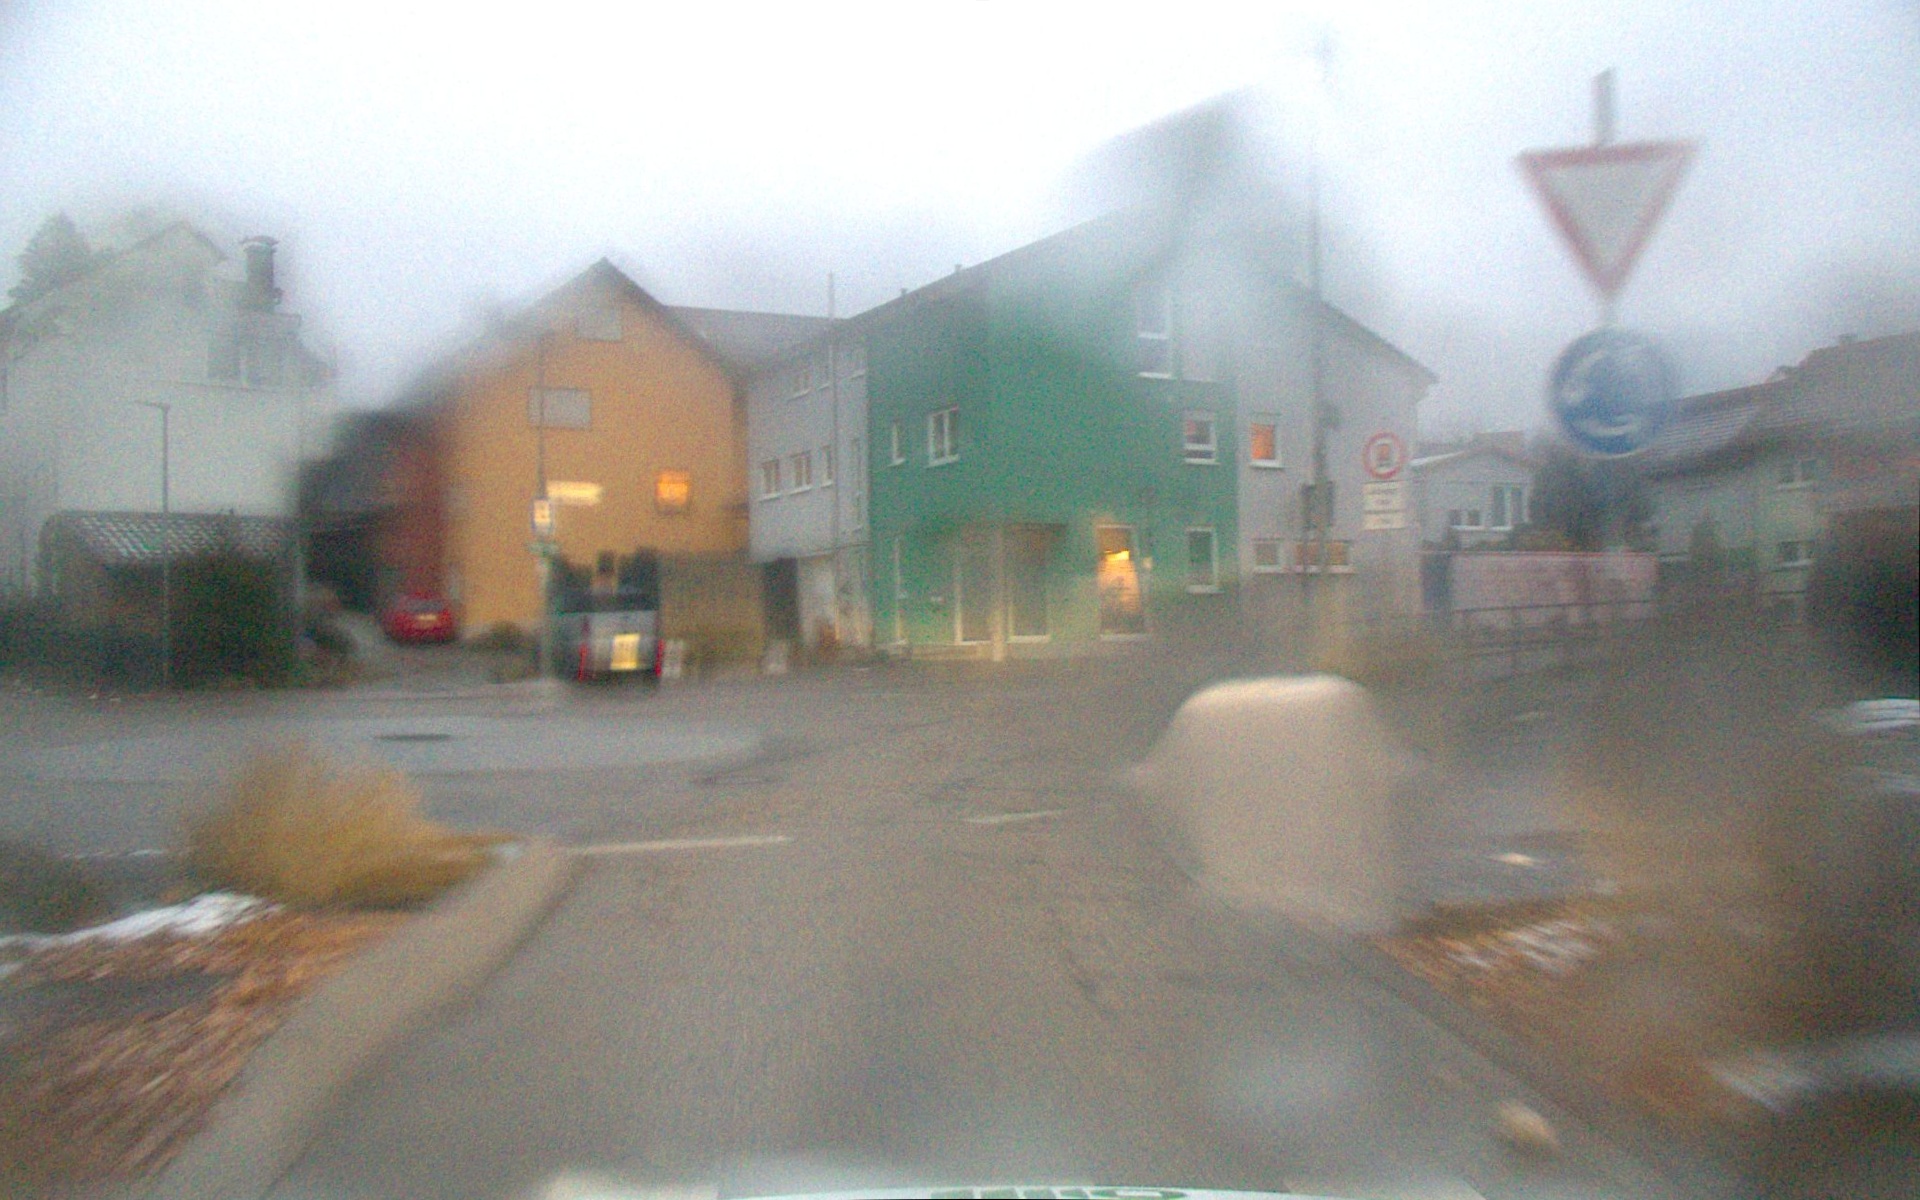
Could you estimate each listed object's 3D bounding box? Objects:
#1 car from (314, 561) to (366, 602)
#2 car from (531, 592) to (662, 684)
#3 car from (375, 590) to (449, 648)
[{"bbox_3d":[-26.116,-0.762,69.650,1.965,1.673,3.974,-1,1,-21],"label":"car"},{"bbox_3d":[-7.248,0.689,32.710,1.965,1.673,3.974,-1,1,-21],"label":"car"},{"bbox_3d":[-16.710,0.544,50.330,1.965,1.673,3.974,-1,1,-21],"label":"car"}]
